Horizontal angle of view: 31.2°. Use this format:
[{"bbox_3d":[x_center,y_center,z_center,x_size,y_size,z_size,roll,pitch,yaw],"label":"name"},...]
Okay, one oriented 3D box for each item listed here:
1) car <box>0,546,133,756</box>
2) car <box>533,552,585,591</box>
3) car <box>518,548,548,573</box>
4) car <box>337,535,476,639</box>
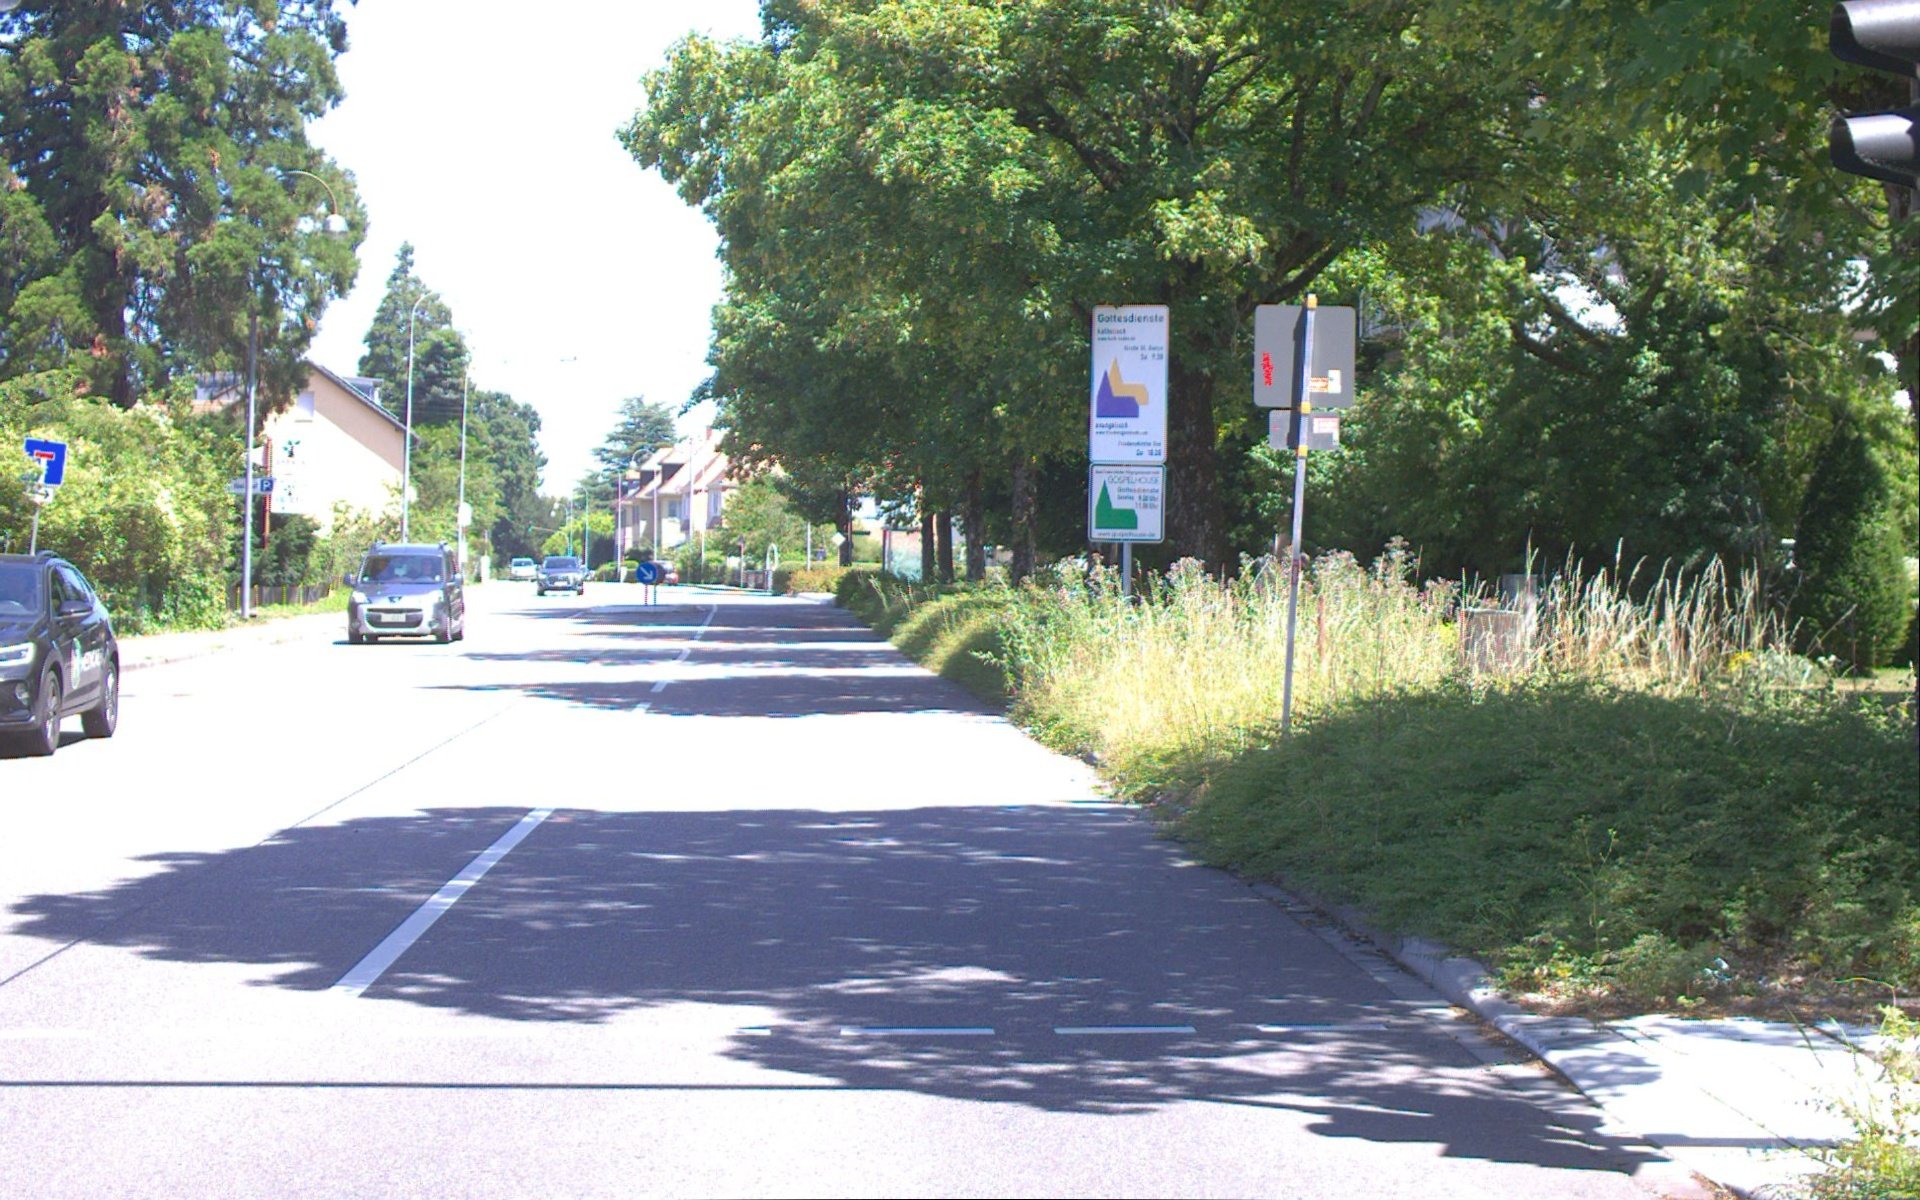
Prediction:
[{"bbox_3d":[-7.665,0.335,26.577,1.869,1.501,4.053,0,1,-5],"label":"car"},{"bbox_3d":[-16.043,-1.140,137.849,1.793,1.531,4.316,0,1,-3],"label":"car"},{"bbox_3d":[-29.613,-2.749,238.467,1.680,1.678,4.000,0,1,-2],"label":"car"},{"bbox_3d":[-9.822,-0.255,61.280,1.811,1.756,4.570,1,1,-1],"label":"car"}]
